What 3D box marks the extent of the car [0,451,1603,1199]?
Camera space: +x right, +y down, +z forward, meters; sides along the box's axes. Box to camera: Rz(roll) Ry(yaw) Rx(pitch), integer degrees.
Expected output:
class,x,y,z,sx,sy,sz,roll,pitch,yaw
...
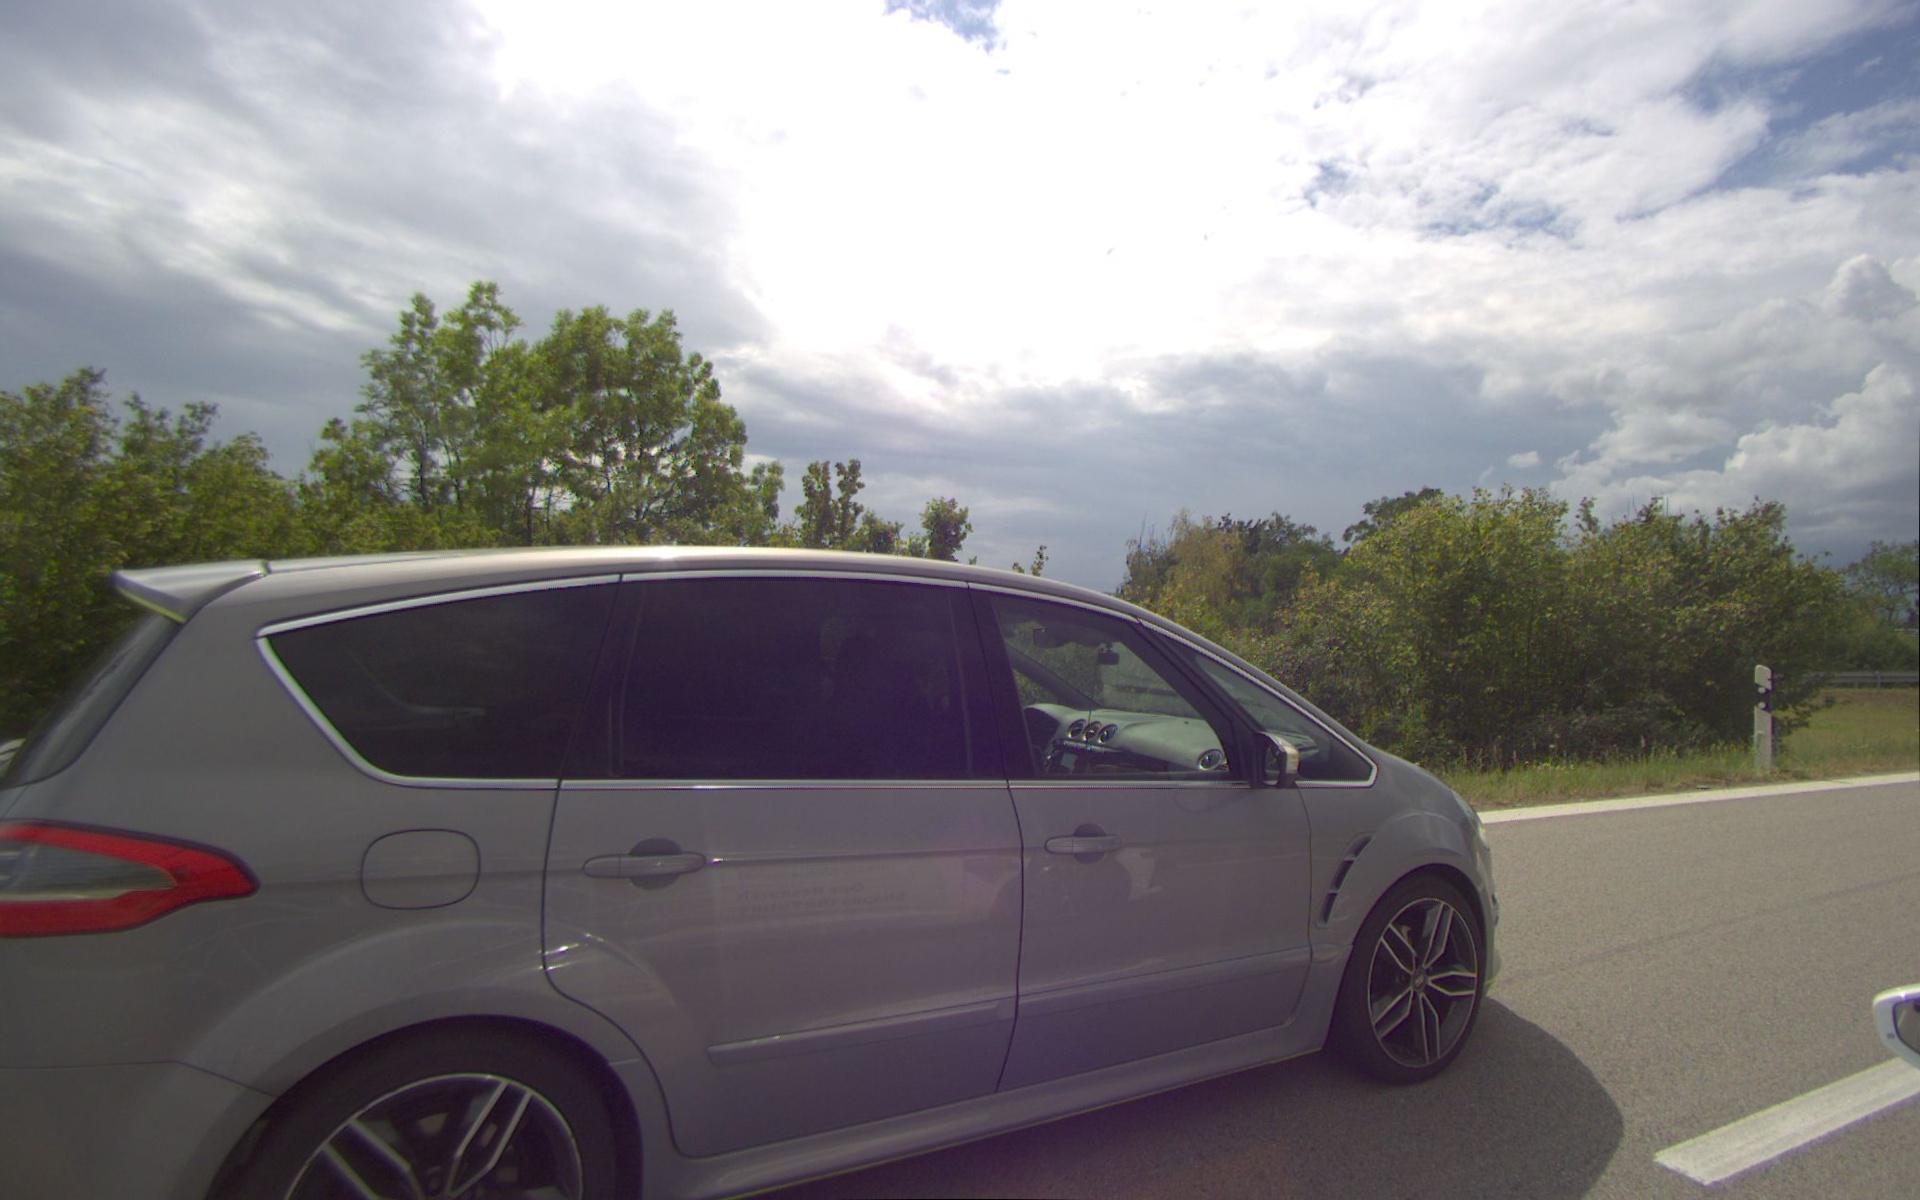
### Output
class,x,y,z,sx,sy,sz,roll,pitch,yaw
car,-0.189,0.668,3.346,4.530,1.598,2.013,2,-2,-28
